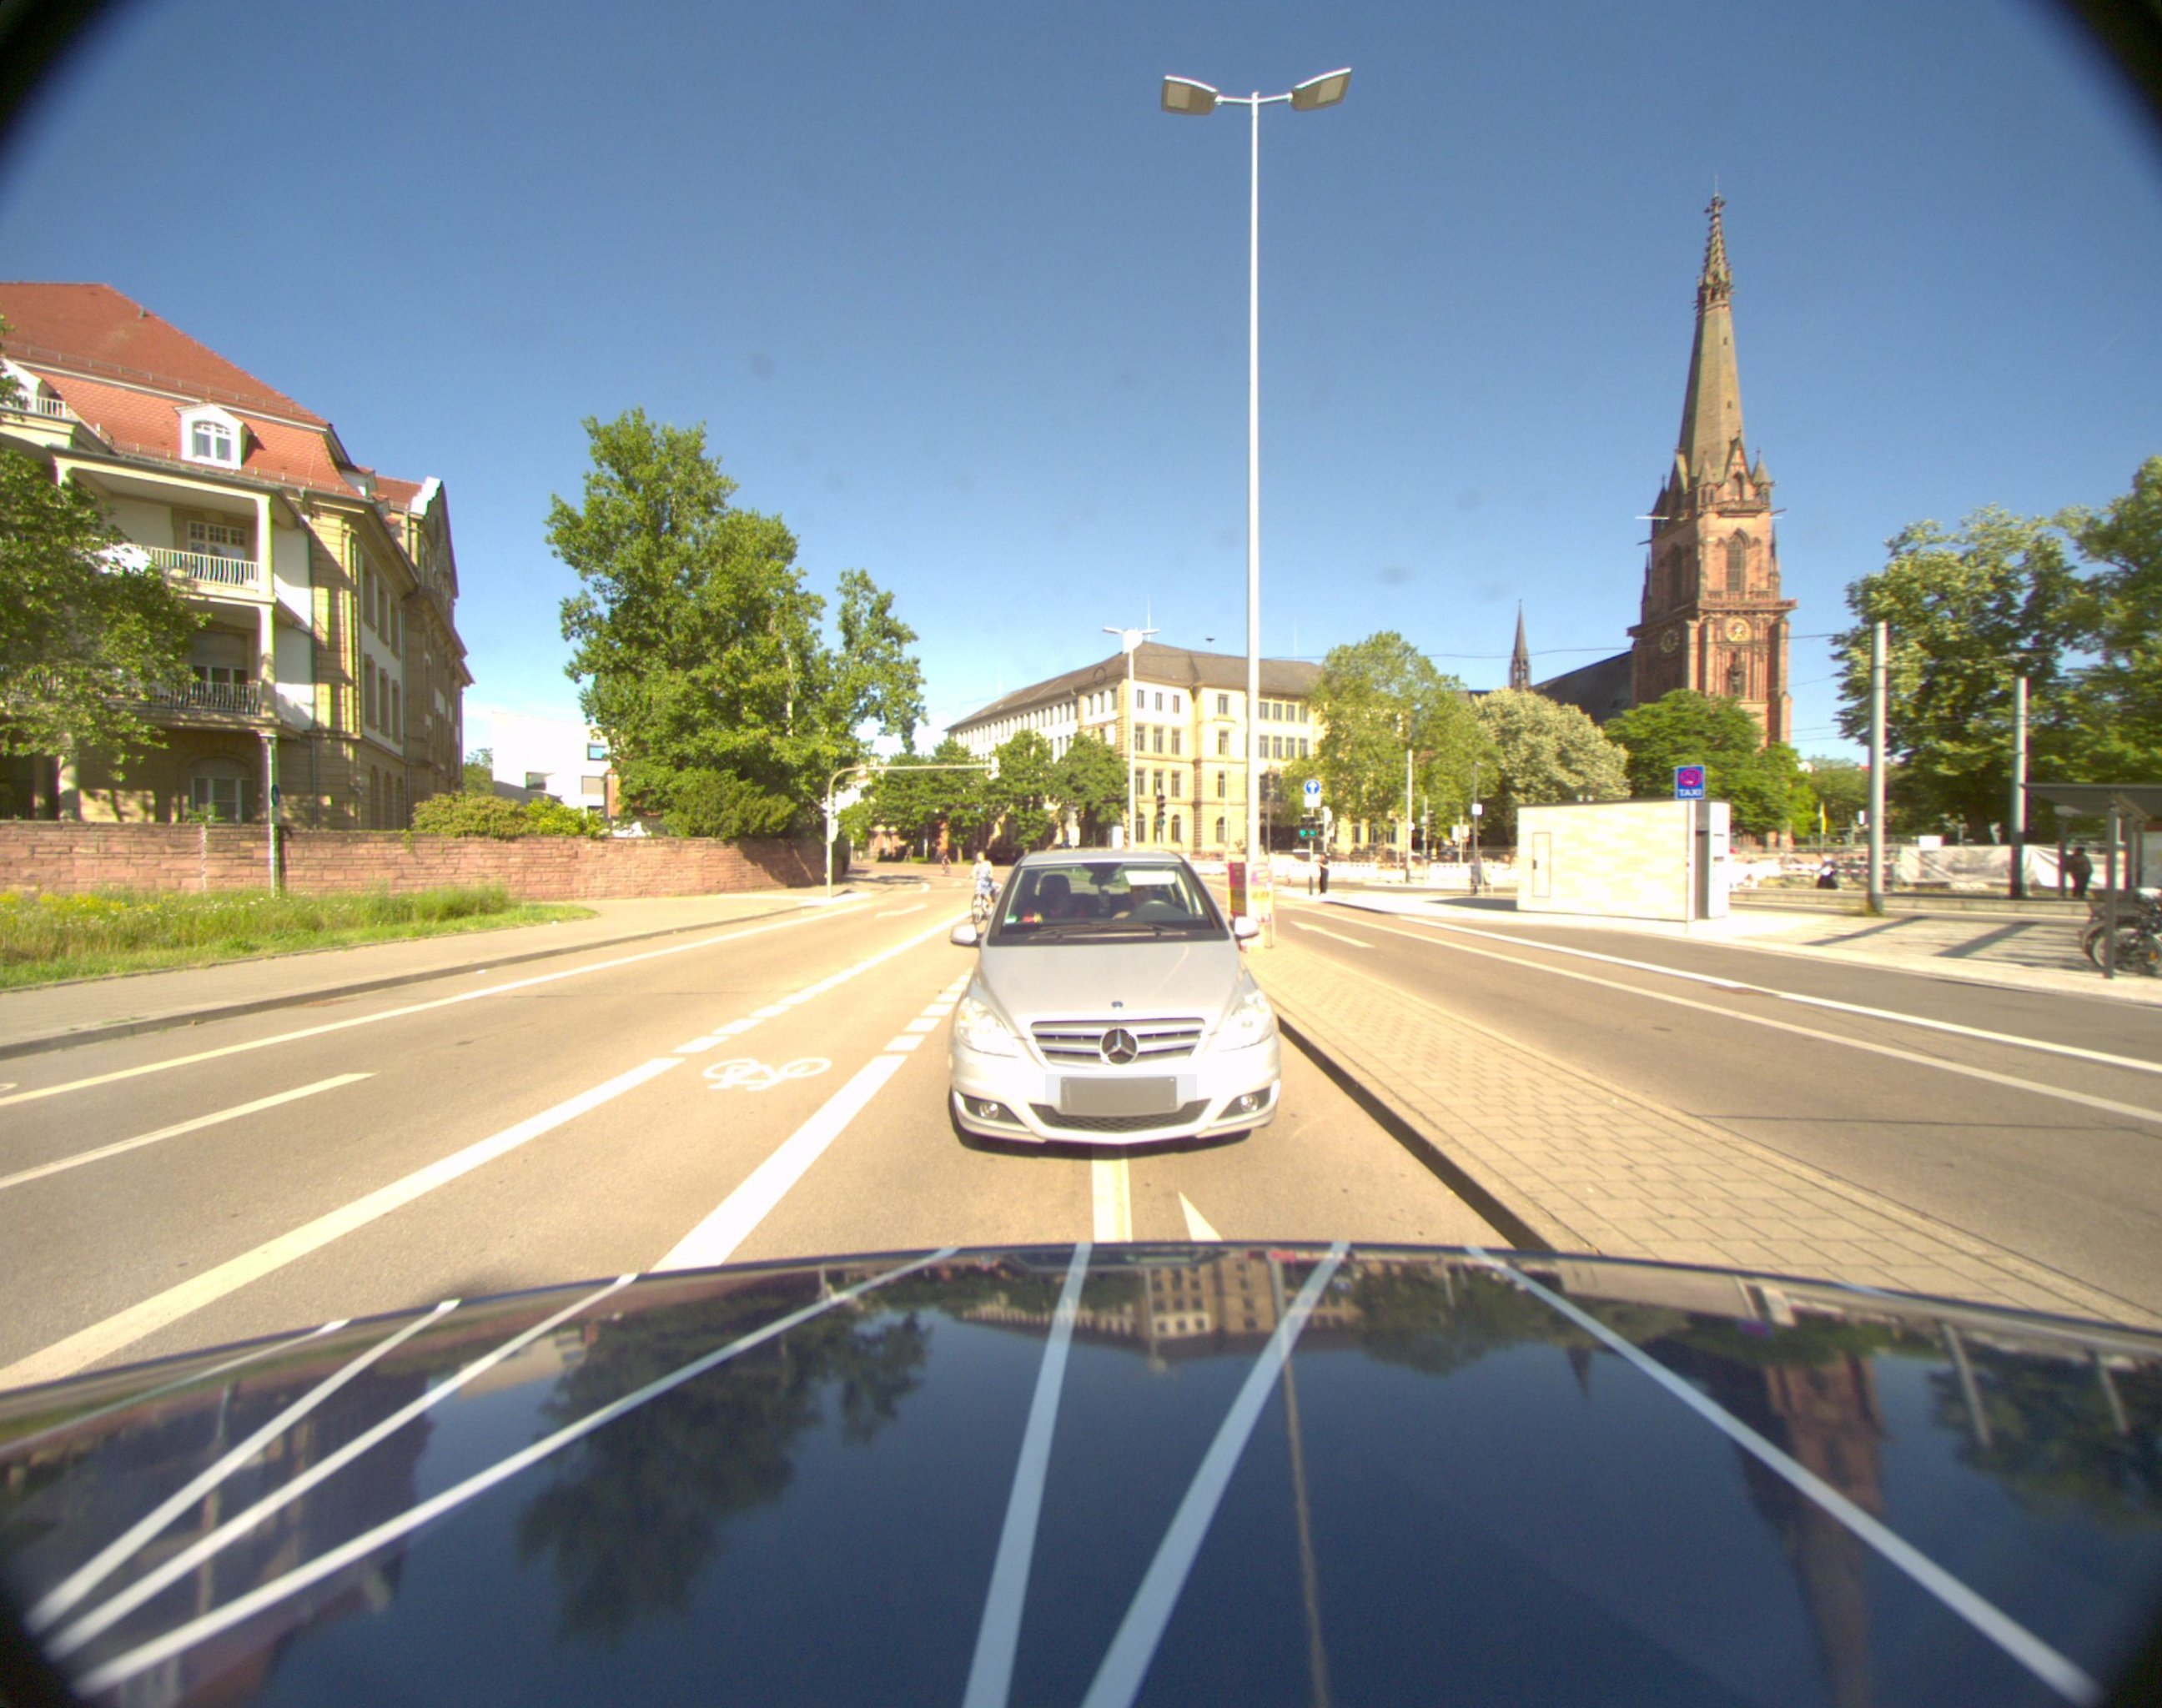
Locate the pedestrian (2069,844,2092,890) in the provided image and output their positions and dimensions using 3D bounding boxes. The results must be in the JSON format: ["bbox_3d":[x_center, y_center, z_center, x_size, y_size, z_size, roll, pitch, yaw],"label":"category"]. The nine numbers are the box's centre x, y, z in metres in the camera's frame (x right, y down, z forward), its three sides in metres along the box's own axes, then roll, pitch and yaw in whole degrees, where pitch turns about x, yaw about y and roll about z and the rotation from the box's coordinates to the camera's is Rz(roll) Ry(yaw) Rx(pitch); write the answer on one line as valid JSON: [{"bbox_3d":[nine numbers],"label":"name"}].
[{"bbox_3d":[37.572,0.499,28.572,0.404,1.711,0.419,1,1,38],"label":"pedestrian"}]

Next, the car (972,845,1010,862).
[{"bbox_3d":[-10.724,-0.039,90.757,1.994,2.002,4.721,0,1,32],"label":"car"}]

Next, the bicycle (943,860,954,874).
[{"bbox_3d":[-9.998,0.983,57.299,0.712,1.000,1.752,-1,1,-8],"label":"bicycle"}]

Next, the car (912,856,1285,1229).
[{"bbox_3d":[0.055,0.883,5.504,1.706,1.657,3.913,-1,1,-1],"label":"car"}]

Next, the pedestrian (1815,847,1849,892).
[{"bbox_3d":[29.613,0.596,29.969,0.980,1.769,0.801,-1,1,-37],"label":"pedestrian"}]

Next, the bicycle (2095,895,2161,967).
[{"bbox_3d":[16.073,1.149,10.971,0.458,1.003,1.667,-1,1,-33],"label":"bicycle"}]

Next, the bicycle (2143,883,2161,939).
[{"bbox_3d":[20.488,1.063,13.605,0.458,1.003,1.667,-1,1,-33],"label":"bicycle"}]

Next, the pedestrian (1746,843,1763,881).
[{"bbox_3d":[38.800,0.460,43.776,0.571,2.142,0.549,-1,1,-25],"label":"pedestrian"}]

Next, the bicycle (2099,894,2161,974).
[{"bbox_3d":[15.201,1.123,10.275,0.458,1.055,1.667,-1,1,-33],"label":"bicycle"}]

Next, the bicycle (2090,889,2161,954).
[{"bbox_3d":[17.914,1.127,12.423,0.458,1.003,1.667,-1,1,-33],"label":"bicycle"}]

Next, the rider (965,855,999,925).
[{"bbox_3d":[-2.368,0.842,18.271,0.658,1.610,0.989,-1,1,1],"label":"rider"}]

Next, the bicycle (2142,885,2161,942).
[{"bbox_3d":[19.895,1.075,13.195,0.458,1.003,1.667,-1,1,-33],"label":"bicycle"}]

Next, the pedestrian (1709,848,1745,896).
[{"bbox_3d":[24.446,0.649,28.753,0.980,1.769,0.801,-1,1,-37],"label":"pedestrian"}]

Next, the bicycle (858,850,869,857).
[{"bbox_3d":[-32.333,-0.086,113.141,1.830,0.985,0.735,0,1,44],"label":"bicycle"}]

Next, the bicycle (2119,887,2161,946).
[{"bbox_3d":[19.128,1.098,12.944,0.458,1.003,1.667,-1,1,-33],"label":"bicycle"}]

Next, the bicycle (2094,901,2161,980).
[{"bbox_3d":[14.700,1.171,9.960,0.458,1.003,1.667,-1,1,-33],"label":"bicycle"}]

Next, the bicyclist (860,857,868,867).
[{"bbox_3d":[-32.276,1.194,113.102,0.893,1.377,0.735,1,1,44],"label":"bicyclist"}]

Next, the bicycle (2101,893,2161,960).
[{"bbox_3d":[17.260,1.147,11.650,0.458,1.003,1.899,-1,1,-33],"label":"bicycle"}]

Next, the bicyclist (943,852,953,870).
[{"bbox_3d":[-9.978,0.540,57.028,0.712,1.309,0.777,-1,1,-8],"label":"bicyclist"}]

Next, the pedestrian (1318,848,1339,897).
[{"bbox_3d":[9.393,0.688,28.883,0.693,1.844,0.679,0,1,13],"label":"pedestrian"}]
